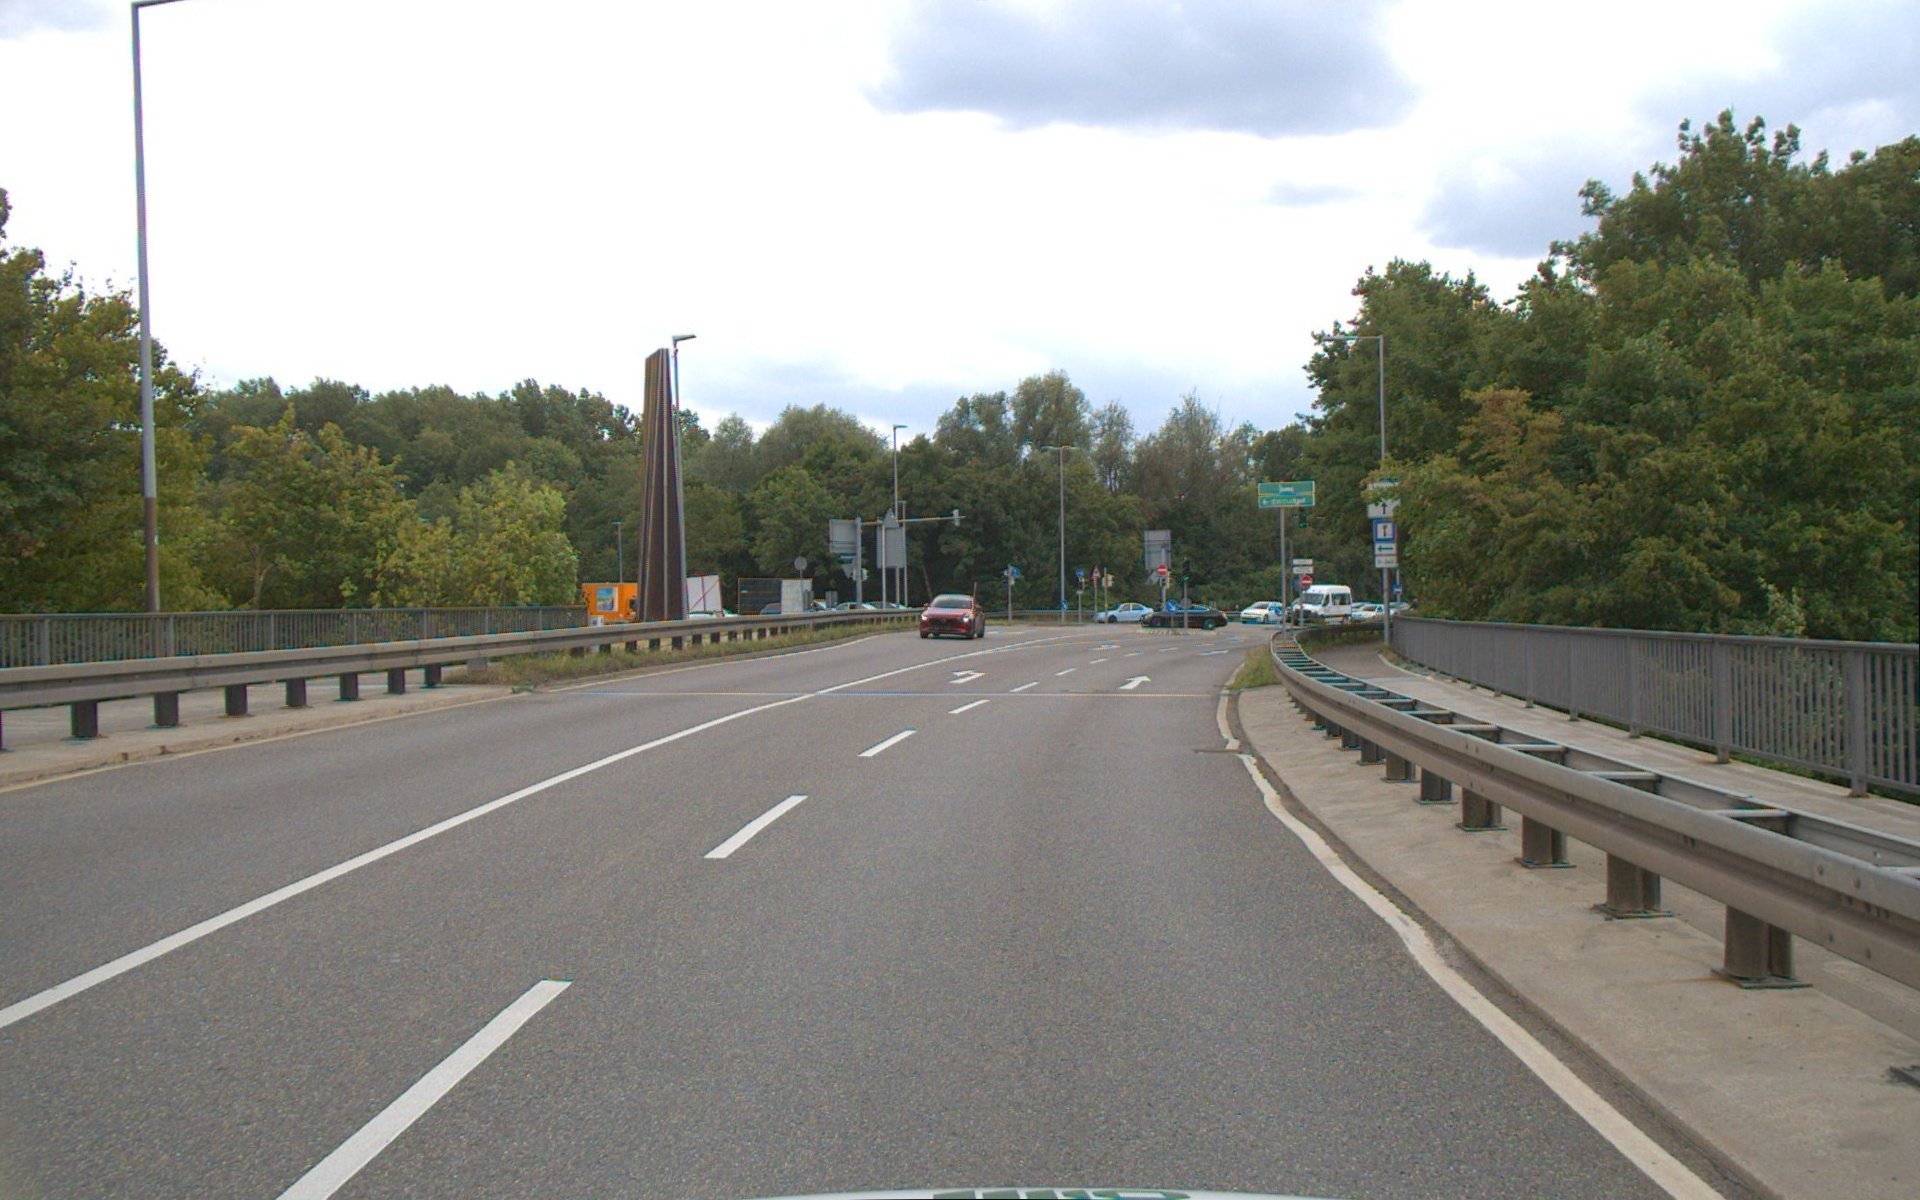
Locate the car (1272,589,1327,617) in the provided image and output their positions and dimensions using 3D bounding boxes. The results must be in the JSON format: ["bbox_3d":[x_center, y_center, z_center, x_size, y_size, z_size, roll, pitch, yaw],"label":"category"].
[{"bbox_3d":[23.710,0.211,115.524,1.964,1.935,4.143,1,0,41],"label":"car"}]

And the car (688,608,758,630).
[{"bbox_3d":[-15.031,1.203,104.864,4.251,1.333,1.992,1,0,36],"label":"car"}]

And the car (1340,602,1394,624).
[{"bbox_3d":[28.609,0.920,116.225,1.963,1.524,4.377,1,0,40],"label":"car"}]

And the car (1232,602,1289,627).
[{"bbox_3d":[20.172,0.969,110.964,1.961,1.574,4.519,1,0,37],"label":"car"}]

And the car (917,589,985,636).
[{"bbox_3d":[-0.258,0.403,55.678,1.757,1.498,4.639,1,0,6],"label":"car"}]

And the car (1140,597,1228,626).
[{"bbox_3d":[11.913,0.606,88.233,4.540,1.481,2.001,1,0,6],"label":"car"}]

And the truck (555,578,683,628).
[{"bbox_3d":[-22.926,0.151,110.939,9.088,3.190,2.961,1,0,35],"label":"truck"}]

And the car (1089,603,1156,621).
[{"bbox_3d":[11.160,0.815,113.709,4.157,1.226,1.984,1,0,-26],"label":"car"}]

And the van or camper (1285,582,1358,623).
[{"bbox_3d":[24.202,0.159,110.488,2.126,2.634,6.465,1,0,38],"label":"van or camper"}]
